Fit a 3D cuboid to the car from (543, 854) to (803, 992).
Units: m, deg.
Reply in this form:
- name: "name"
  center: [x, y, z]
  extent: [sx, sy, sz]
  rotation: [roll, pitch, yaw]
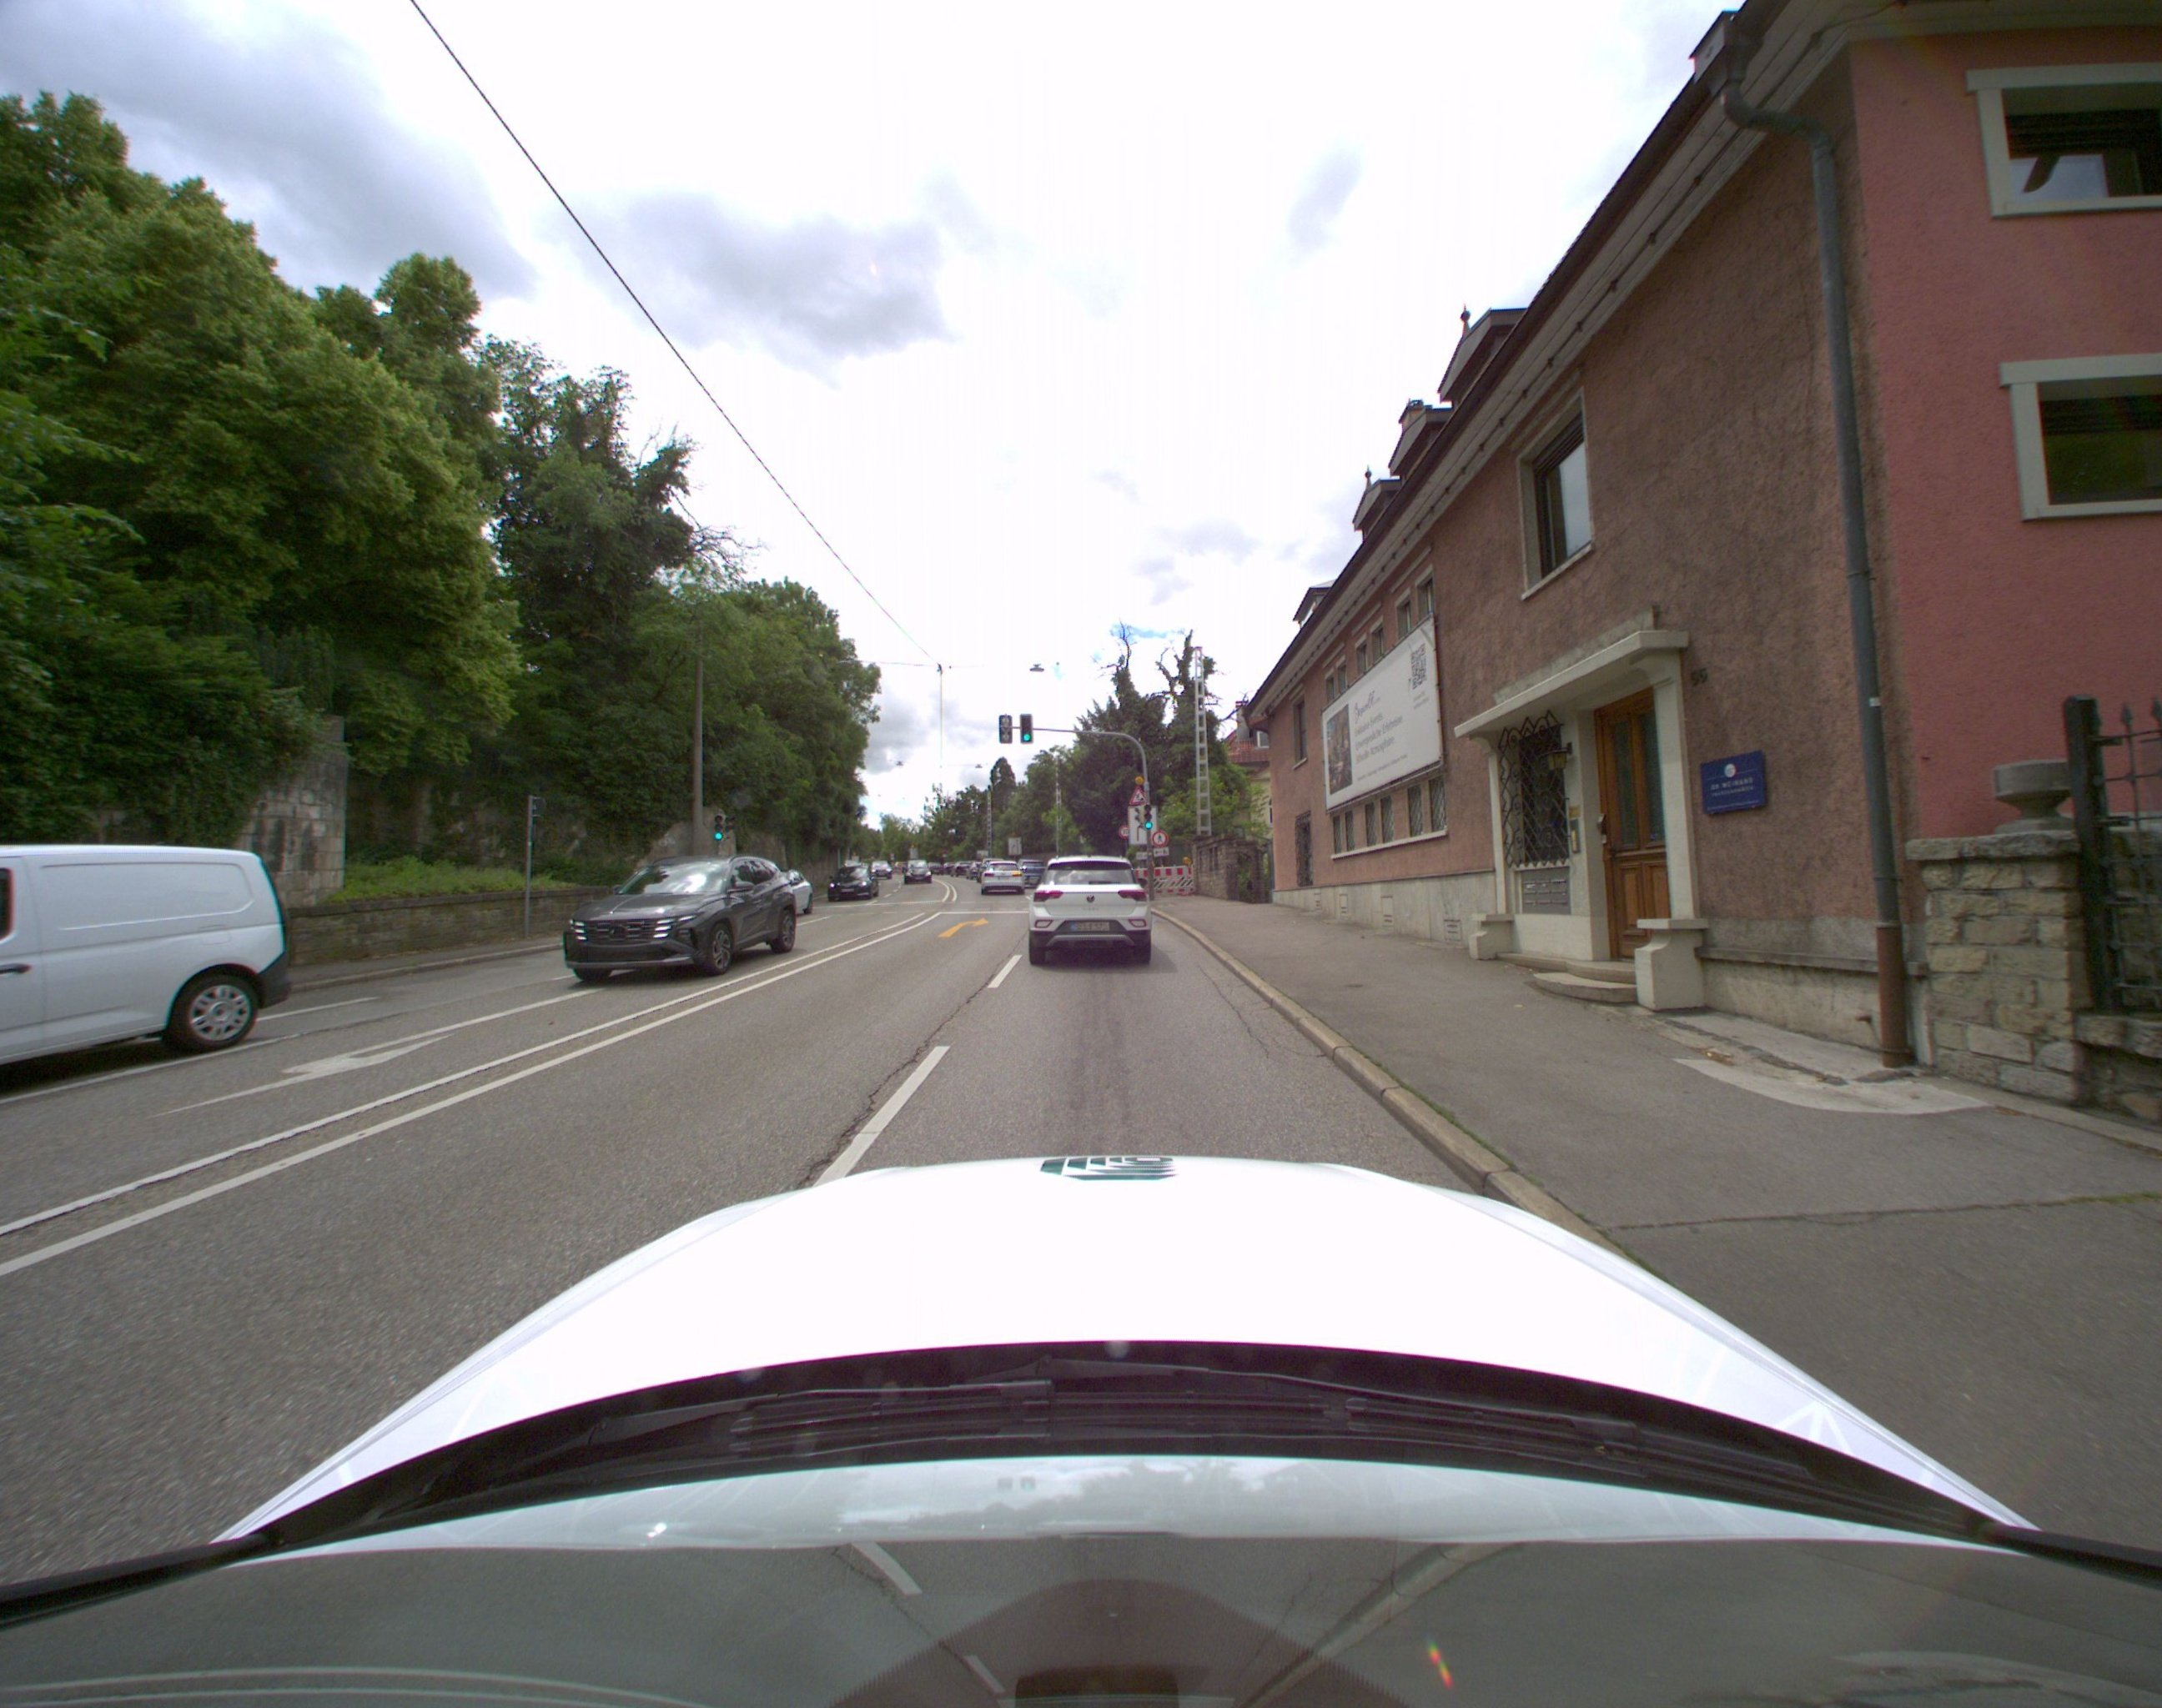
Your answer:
- name: "car"
  center: [-5.767, 0.844, 12.226]
  extent: [1.844, 1.632, 4.357]
  rotation: [-1, 0, -3]

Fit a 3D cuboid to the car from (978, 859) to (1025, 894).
- name: "car"
  center: [-3.524, 0.965, 35.763]
  extent: [1.758, 1.471, 3.781]
  rotation: [0, -1, -10]

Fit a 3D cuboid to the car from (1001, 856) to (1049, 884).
- name: "car"
  center: [-3.123, 0.861, 44.373]
  extent: [1.995, 1.414, 4.132]
  rotation: [-2, -1, -13]

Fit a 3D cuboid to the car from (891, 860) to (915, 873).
- name: "car"
  center: [-23.839, 1.641, 109.221]
  extent: [1.854, 1.699, 3.959]
  rotation: [-1, 0, -33]

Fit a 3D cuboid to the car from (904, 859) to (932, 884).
- name: "car"
  center: [-11.002, 1.138, 55.233]
  extent: [1.755, 1.566, 3.666]
  rotation: [-2, 0, -11]

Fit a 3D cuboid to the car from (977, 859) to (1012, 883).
- name: "car"
  center: [-5.912, 1.111, 55.143]
  extent: [1.995, 1.556, 4.134]
  rotation: [0, 0, -12]

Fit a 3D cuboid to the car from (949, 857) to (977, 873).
- name: "car"
  center: [-11.287, 1.050, 77.438]
  extent: [1.999, 1.450, 4.125]
  rotation: [-1, -1, -18]

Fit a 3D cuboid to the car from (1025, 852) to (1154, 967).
- name: "car"
  center: [0.167, 0.774, 13.008]
  extent: [1.751, 1.556, 3.796]
  rotation: [0, -1, 1]

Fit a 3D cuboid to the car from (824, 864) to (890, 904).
- name: "car"
  center: [-9.543, 1.239, 35.046]
  extent: [1.678, 1.418, 4.425]
  rotation: [-3, 0, -2]

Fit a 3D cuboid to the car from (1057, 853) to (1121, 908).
- name: "car"
  center: [0.173, 0.806, 26.099]
  extent: [1.754, 1.609, 3.789]
  rotation: [0, -1, -4]

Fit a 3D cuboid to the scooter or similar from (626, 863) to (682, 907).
- name: "scooter or similar"
  center: [-13.288, 0.988, 25.373]
  extent: [0.429, 1.238, 1.358]
  rotation: [3, -5, 35]

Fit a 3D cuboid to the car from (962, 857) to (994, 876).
- name: "car"
  center: [-8.424, 1.053, 66.381]
  extent: [1.997, 1.450, 4.129]
  rotation: [-1, -1, -15]

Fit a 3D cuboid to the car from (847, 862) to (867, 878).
- name: "car"
  center: [-26.622, 1.864, 96.810]
  extent: [1.743, 1.846, 4.236]
  rotation: [-2, 0, -8]

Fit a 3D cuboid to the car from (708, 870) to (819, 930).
- name: "car"
  center: [-9.147, 1.274, 23.854]
  extent: [1.711, 1.403, 4.021]
  rotation: [-2, 0, -2]

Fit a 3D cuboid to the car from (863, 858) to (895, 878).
- name: "car"
  center: [-17.945, 1.255, 72.327]
  extent: [2.002, 1.607, 4.442]
  rotation: [-3, 0, -23]

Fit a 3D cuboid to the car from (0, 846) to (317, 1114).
- name: "car"
  center: [-8.411, 0.887, 5.717]
  extent: [1.886, 1.848, 4.397]
  rotation: [-1, 0, 1]

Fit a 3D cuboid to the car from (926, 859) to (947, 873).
- name: "car"
  center: [-16.250, 1.322, 91.287]
  extent: [1.785, 1.454, 3.975]
  rotation: [0, -1, -18]

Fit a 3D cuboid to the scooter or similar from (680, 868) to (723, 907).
- name: "scooter or similar"
  center: [-12.362, 1.104, 26.539]
  extent: [0.429, 1.237, 1.105]
  rotation: [2, -1, 42]
